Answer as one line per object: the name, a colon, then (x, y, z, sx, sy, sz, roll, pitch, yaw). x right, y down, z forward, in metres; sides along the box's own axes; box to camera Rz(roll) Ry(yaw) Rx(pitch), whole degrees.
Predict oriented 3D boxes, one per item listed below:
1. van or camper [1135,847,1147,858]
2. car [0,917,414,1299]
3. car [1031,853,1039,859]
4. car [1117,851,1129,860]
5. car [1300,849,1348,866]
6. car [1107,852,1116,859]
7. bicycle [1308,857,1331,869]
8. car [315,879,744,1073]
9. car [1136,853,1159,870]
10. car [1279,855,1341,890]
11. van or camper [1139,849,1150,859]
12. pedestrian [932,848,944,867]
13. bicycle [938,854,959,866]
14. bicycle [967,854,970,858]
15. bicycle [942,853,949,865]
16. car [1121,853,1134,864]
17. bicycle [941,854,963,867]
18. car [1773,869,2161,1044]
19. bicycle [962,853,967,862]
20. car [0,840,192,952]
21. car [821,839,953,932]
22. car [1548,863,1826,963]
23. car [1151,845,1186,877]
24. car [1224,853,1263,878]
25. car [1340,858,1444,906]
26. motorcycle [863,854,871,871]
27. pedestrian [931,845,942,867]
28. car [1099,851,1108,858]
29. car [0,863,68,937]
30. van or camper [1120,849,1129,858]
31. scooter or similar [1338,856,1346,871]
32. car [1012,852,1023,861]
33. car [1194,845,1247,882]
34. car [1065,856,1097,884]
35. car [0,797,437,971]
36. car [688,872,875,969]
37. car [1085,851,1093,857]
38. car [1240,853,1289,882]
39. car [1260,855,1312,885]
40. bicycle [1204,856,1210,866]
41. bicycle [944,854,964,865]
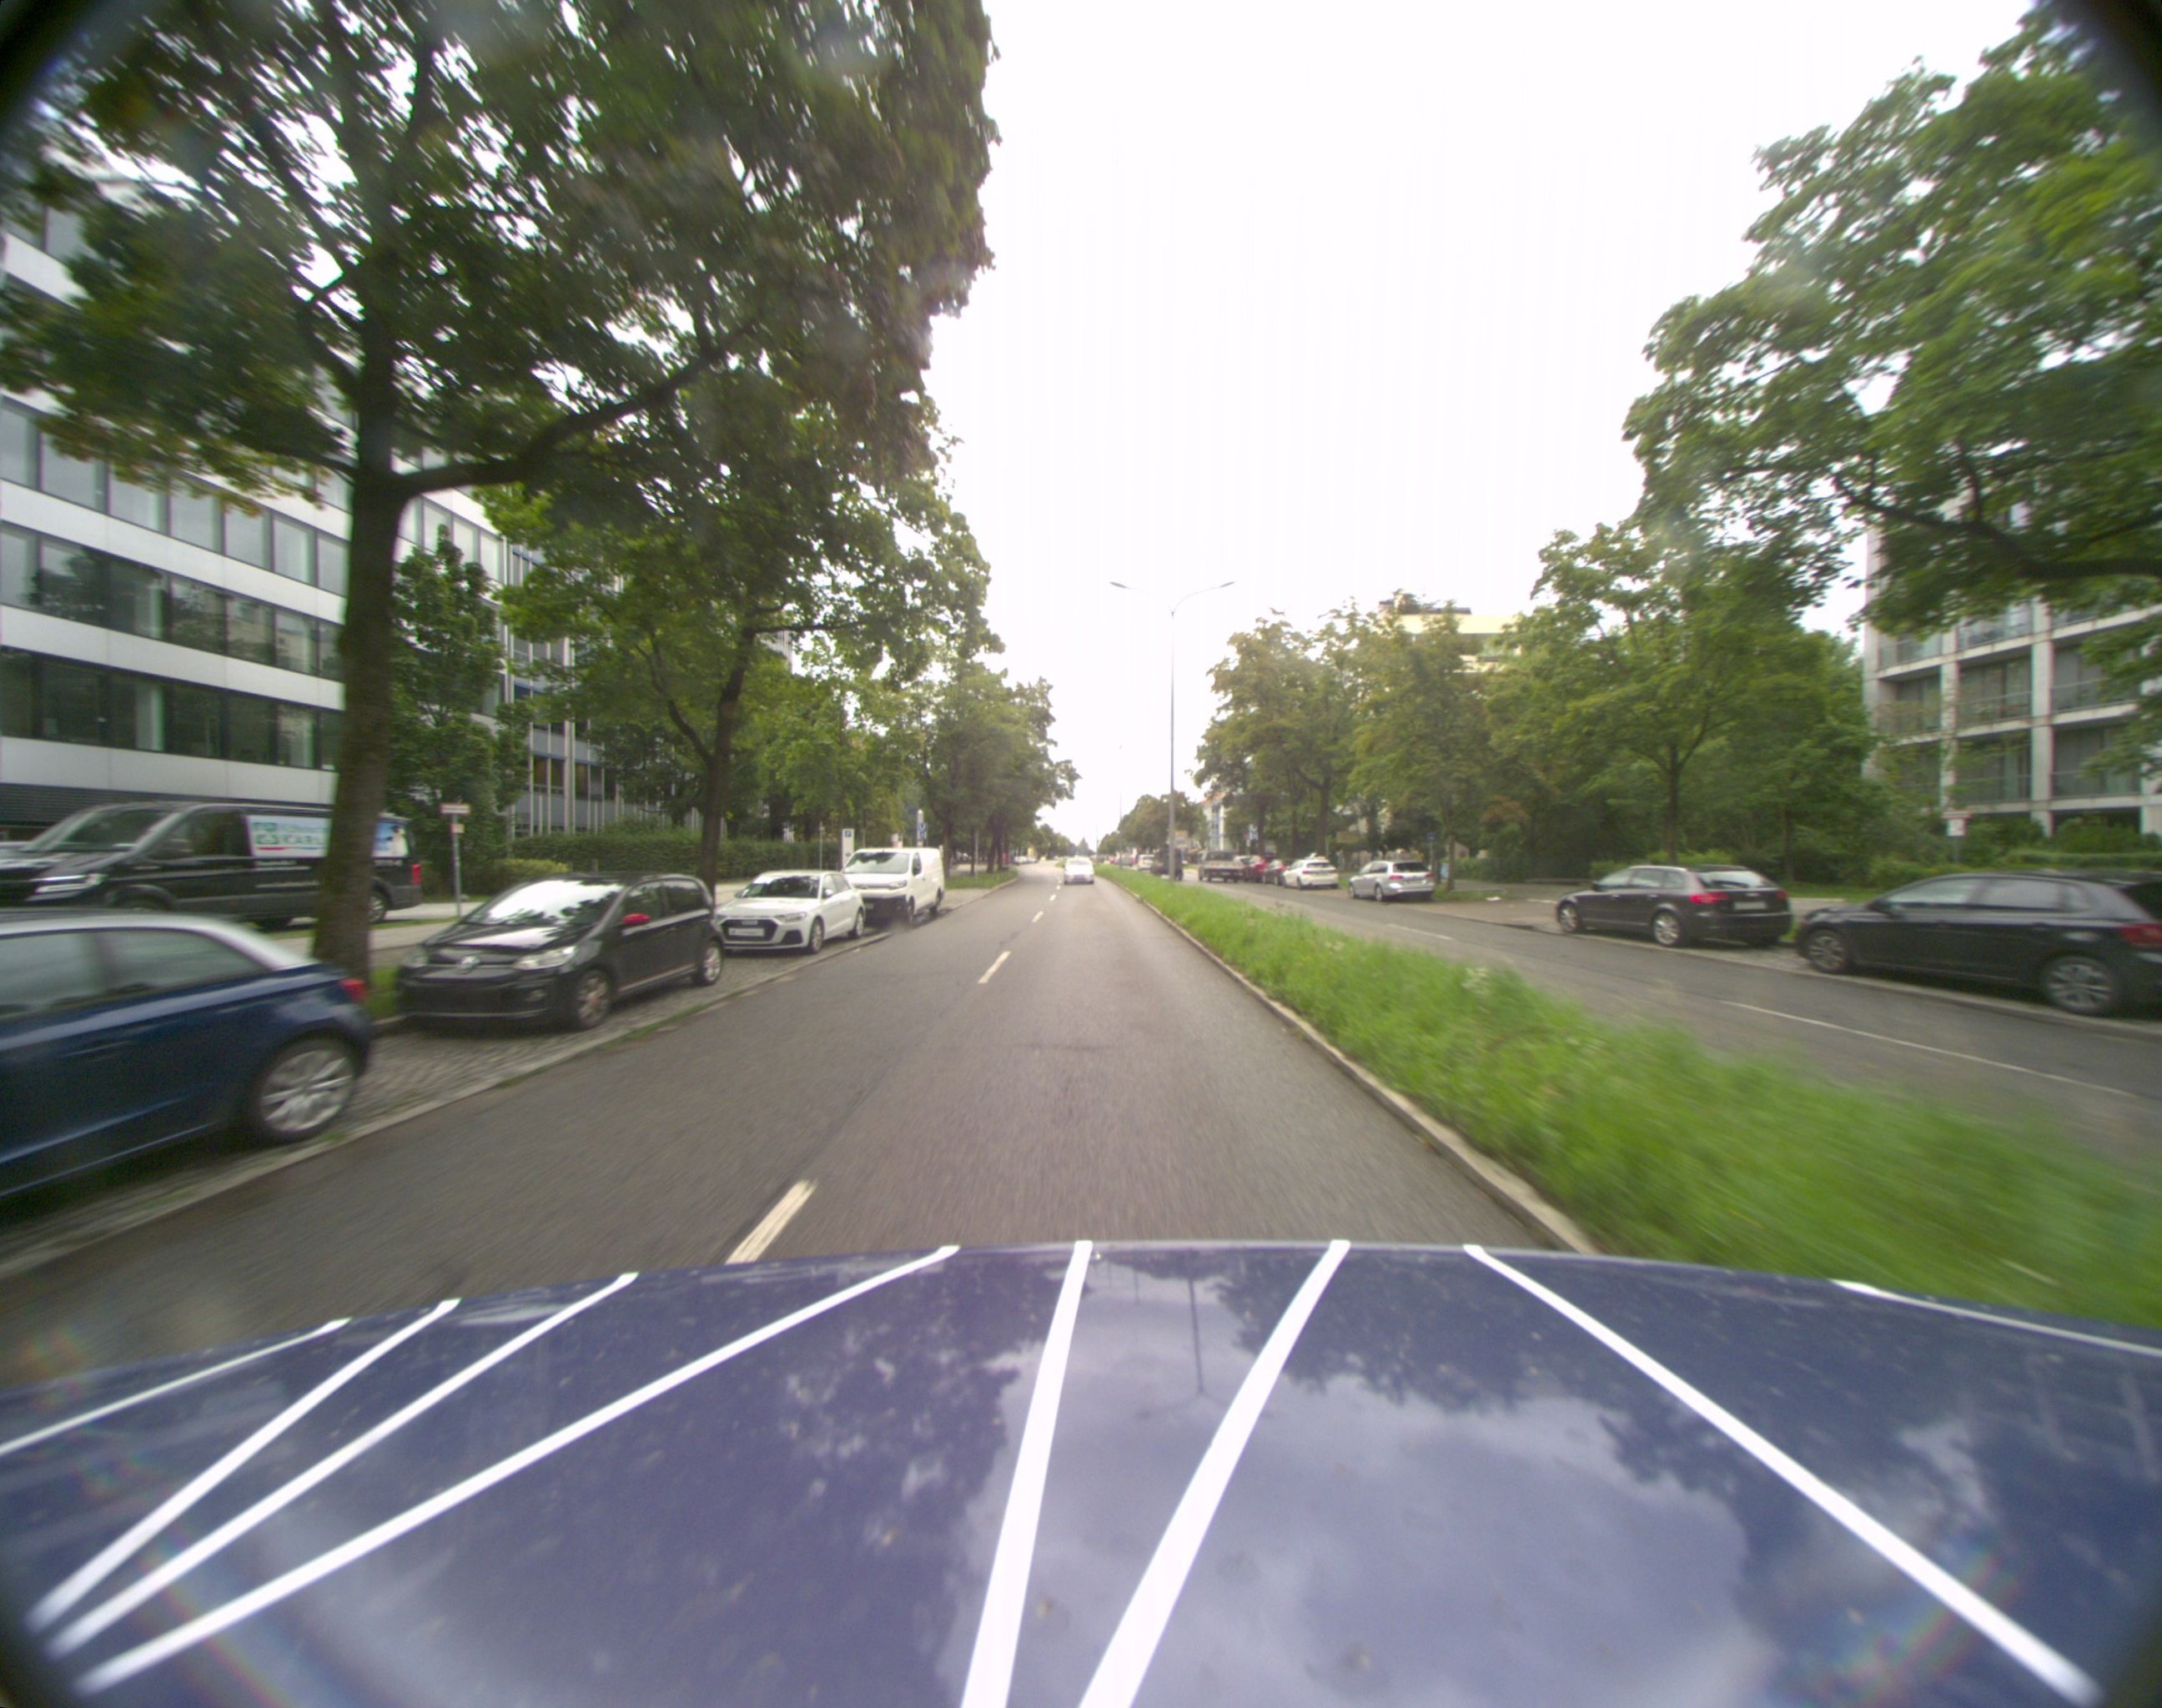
van or camper: (13.551, -0.307, 171.562, 2.055, 2.472, 5.548, 0, 0, 0)
car: (-5.362, 1.143, 3.046, 1.706, 1.413, 4.121, 1, 0, 1)
car: (-11.388, 0.494, 188.598, 1.590, 1.495, 3.734, 1, 0, 1)
car: (7.391, 0.299, 133.916, 1.920, 1.475, 4.865, 1, 0, 1)
car: (22.881, 0.339, 71.562, 3.996, 1.579, 1.749, 0, 0, 2)
car: (6.145, 0.309, 153.353, 1.696, 1.394, 3.967, 0, 0, -1)
bicycle: (19.719, 0.735, 62.751, 1.766, 1.001, 0.436, 0, 1, 0)
car: (-5.430, 1.075, 8.244, 1.706, 1.438, 3.978, 1, 0, 1)
car: (6.413, 0.698, 73.759, 1.838, 1.633, 4.350, 1, 0, 0)
car: (11.121, 0.861, 37.191, 1.743, 1.521, 4.475, -2, 0, 1)
van or camper: (13.530, 0.000, 162.059, 2.026, 1.930, 4.704, 0, 0, 1)
pedestrian: (-12.578, 0.312, 66.903, 0.784, 1.704, 0.751, 1, 0, 14)
bicycle: (-12.990, 0.575, 74.334, 1.959, 1.101, 0.579, 5, -3, -44)
bicycle: (-23.982, 0.393, 161.772, 0.512, 0.935, 2.141, 0, 0, -1)
bicycle: (-14.219, 0.522, 79.873, 0.489, 1.182, 1.953, 0, 0, -3)
car: (6.856, 0.670, 112.643, 1.770, 1.615, 4.376, 1, 0, 1)
bicycle: (-12.441, 0.625, 73.252, 1.958, 1.182, 0.595, 3, -1, -34)
car: (10.632, 0.968, 8.699, 1.629, 1.415, 4.192, -3, 0, 2)
bicycle: (-18.056, 0.538, 117.892, 0.622, 1.243, 1.919, 0, 0, -6)
car: (-18.293, 0.669, 12.615, 1.847, 1.807, 4.471, 1, 0, -1)
car: (-4.959, 0.720, 20.337, 1.992, 2.145, 5.555, 1, 0, 1)
car: (10.721, 0.939, 13.947, 1.584, 1.415, 4.362, -3, 0, 0)
car: (5.720, 0.429, 50.234, 1.785, 2.017, 4.818, 1, 0, 0)
car: (11.294, 0.781, 53.072, 1.743, 1.634, 4.684, -1, 0, 1)
car: (11.065, 0.938, 27.456, 1.741, 1.440, 4.822, -3, 0, 0)
motorcycle: (-17.009, 0.648, 60.327, 0.550, 1.311, 2.071, 0, 0, -14)
pedestrian: (-12.890, 0.182, 67.848, 0.652, 1.888, 0.750, 0, 0, 12)
car: (5.105, 0.151, 171.555, 1.962, 1.471, 4.259, 0, 0, 1)
car: (-21.476, 0.891, 13.381, 1.784, 1.366, 3.970, -1, 0, 19)
van or camper: (10.896, -0.126, 191.216, 2.020, 2.004, 5.198, 1, 0, 0)
scooter or similar: (19.679, 0.677, 57.346, 0.436, 1.120, 1.291, 0, 0, 13)
car: (-11.769, 0.488, 141.014, 1.866, 1.581, 4.602, 1, 0, -2)
car: (8.757, 0.557, 48.222, 2.215, 2.181, 5.799, 2, 0, 0)
car: (0.034, 0.850, 42.404, 1.679, 1.433, 3.734, 1, 0, 1)
car: (-14.907, 0.380, 13.156, 2.271, 2.293, 6.267, 1, 0, -1)
car: (-5.266, 1.093, 14.007, 1.706, 1.389, 4.233, 1, 0, 1)
car: (1.875, 0.033, 179.407, 1.787, 1.397, 4.101, 1, 0, -1)
car: (11.292, 0.776, 47.051, 1.743, 1.642, 4.605, -2, 0, -1)
car: (11.236, 0.838, 41.944, 1.743, 1.474, 4.334, -2, 0, 1)
bicycle: (14.275, 0.769, 86.297, 0.409, 1.071, 1.955, -4, 0, 3)
bicycle: (-13.175, 0.609, 79.020, 2.037, 1.093, 0.578, 2, 1, -45)
